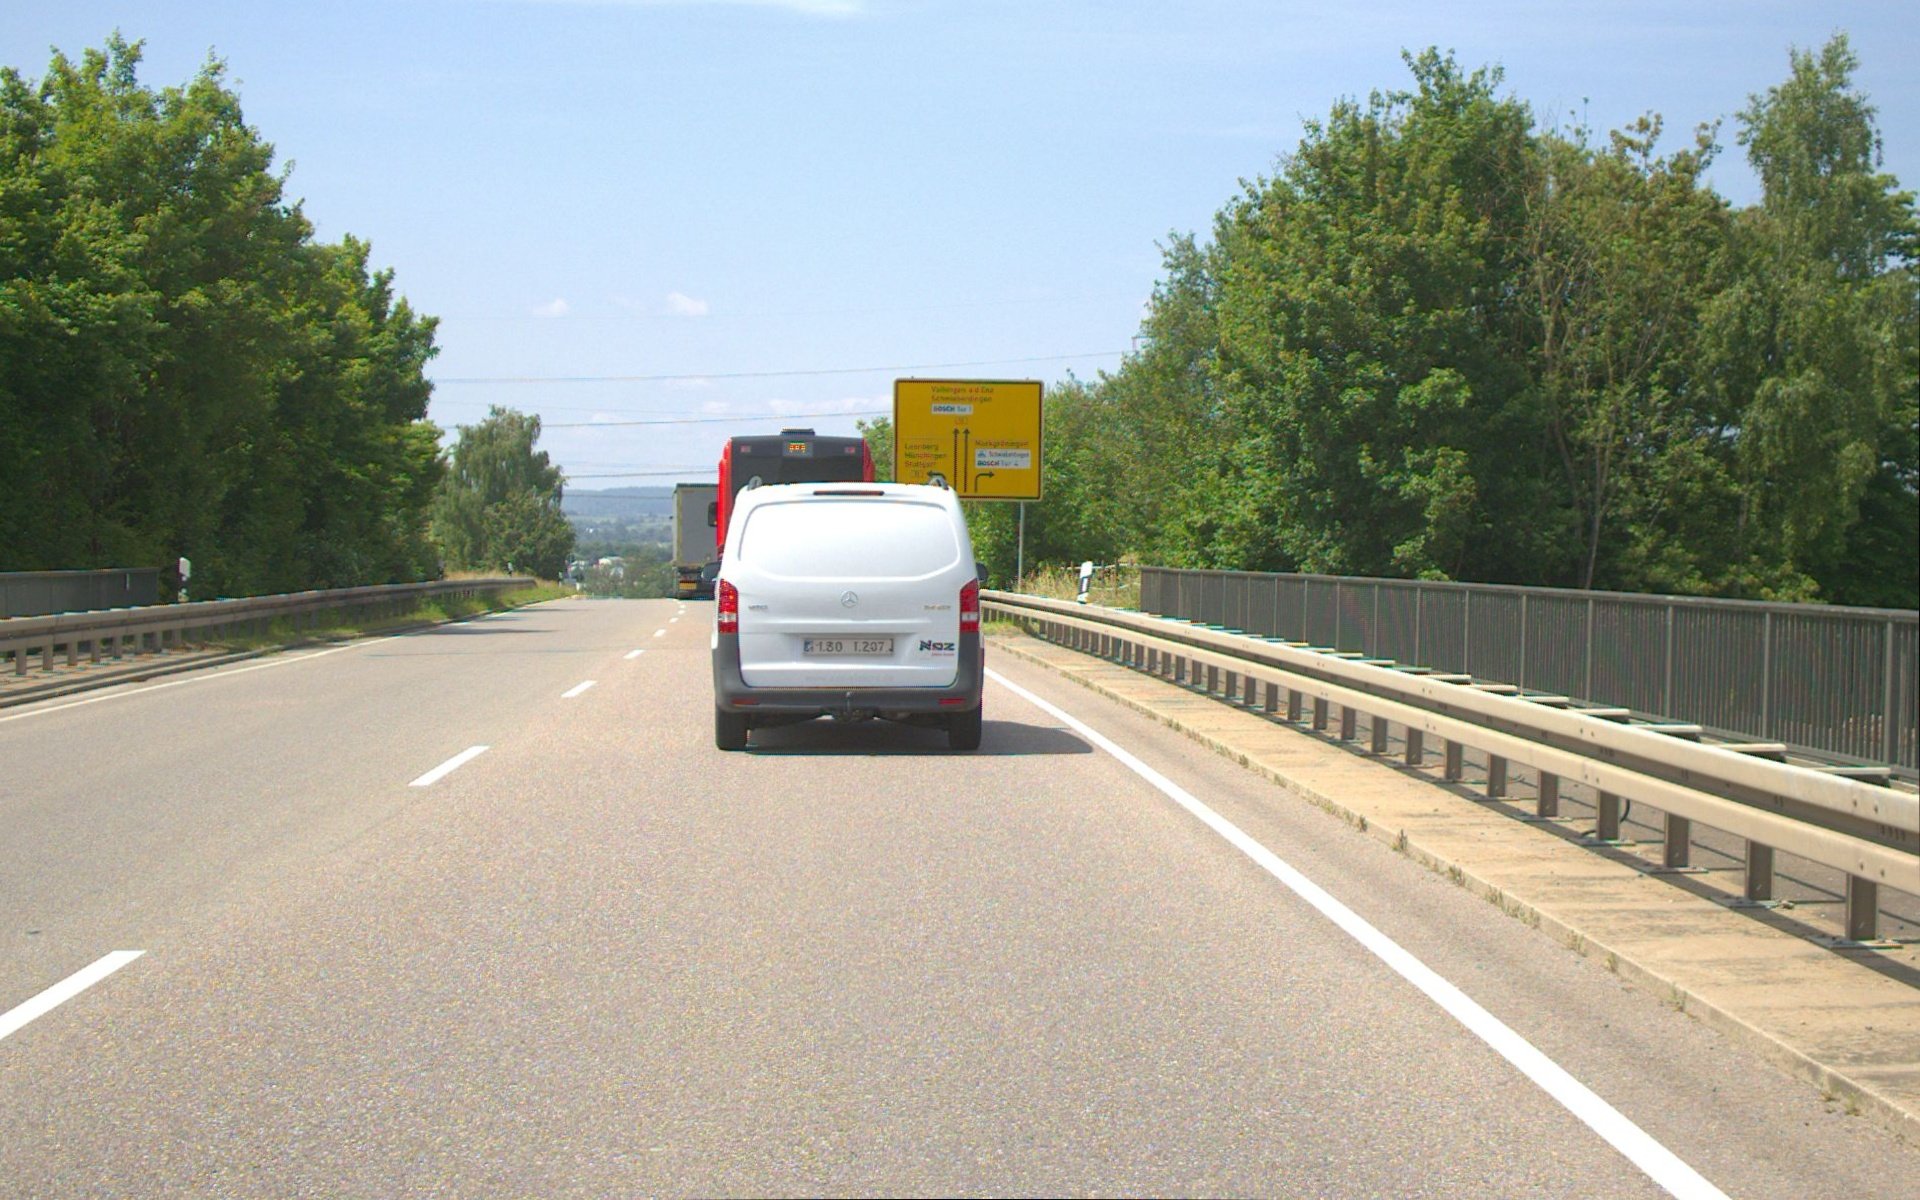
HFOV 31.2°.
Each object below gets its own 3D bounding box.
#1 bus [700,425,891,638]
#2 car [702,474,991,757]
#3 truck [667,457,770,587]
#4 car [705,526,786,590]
[{"bbox_3d":[-3.092,-1.232,60.720,2.746,3.342,13.224,0,1,-5],"label":"bus"},{"bbox_3d":[-0.856,0.054,25.117,1.923,1.883,4.001,1,1,-3],"label":"car"},{"bbox_3d":[-8.763,-2.847,124.577,3.488,4.408,14.905,0,1,-4],"label":"truck"},{"bbox_3d":[-6.321,-1.236,101.129,1.993,1.809,4.001,1,1,-9],"label":"car"}]
